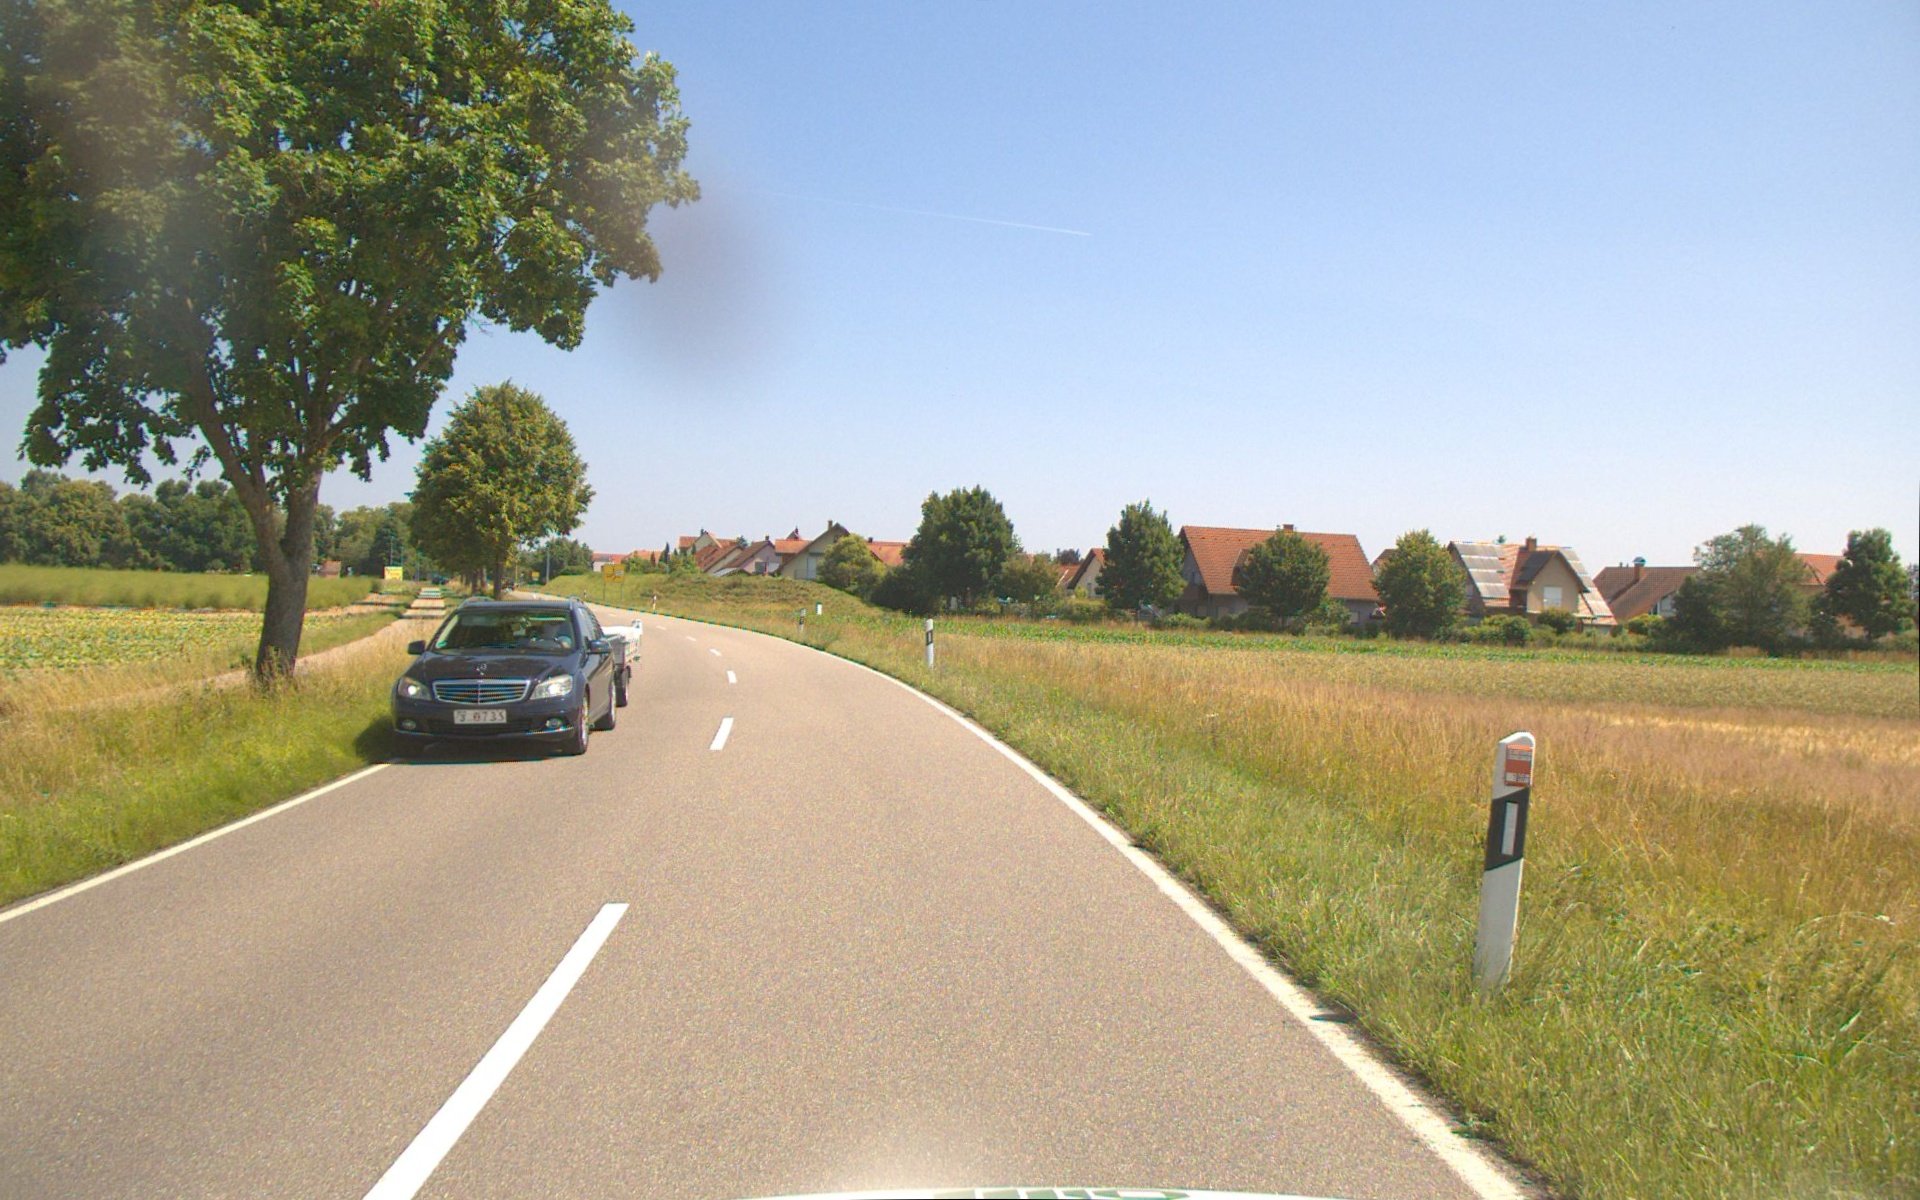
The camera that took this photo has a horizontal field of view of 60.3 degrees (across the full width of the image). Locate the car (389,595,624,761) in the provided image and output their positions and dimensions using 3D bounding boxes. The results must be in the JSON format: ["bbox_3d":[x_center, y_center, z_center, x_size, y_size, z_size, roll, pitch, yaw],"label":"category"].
[{"bbox_3d":[-4.485,0.693,16.920,1.612,1.454,4.175,-1,0,-6],"label":"car"}]

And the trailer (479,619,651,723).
[{"bbox_3d":[-4.919,0.839,21.066,1.591,1.083,4.113,-1,0,-6],"label":"trailer"}]
